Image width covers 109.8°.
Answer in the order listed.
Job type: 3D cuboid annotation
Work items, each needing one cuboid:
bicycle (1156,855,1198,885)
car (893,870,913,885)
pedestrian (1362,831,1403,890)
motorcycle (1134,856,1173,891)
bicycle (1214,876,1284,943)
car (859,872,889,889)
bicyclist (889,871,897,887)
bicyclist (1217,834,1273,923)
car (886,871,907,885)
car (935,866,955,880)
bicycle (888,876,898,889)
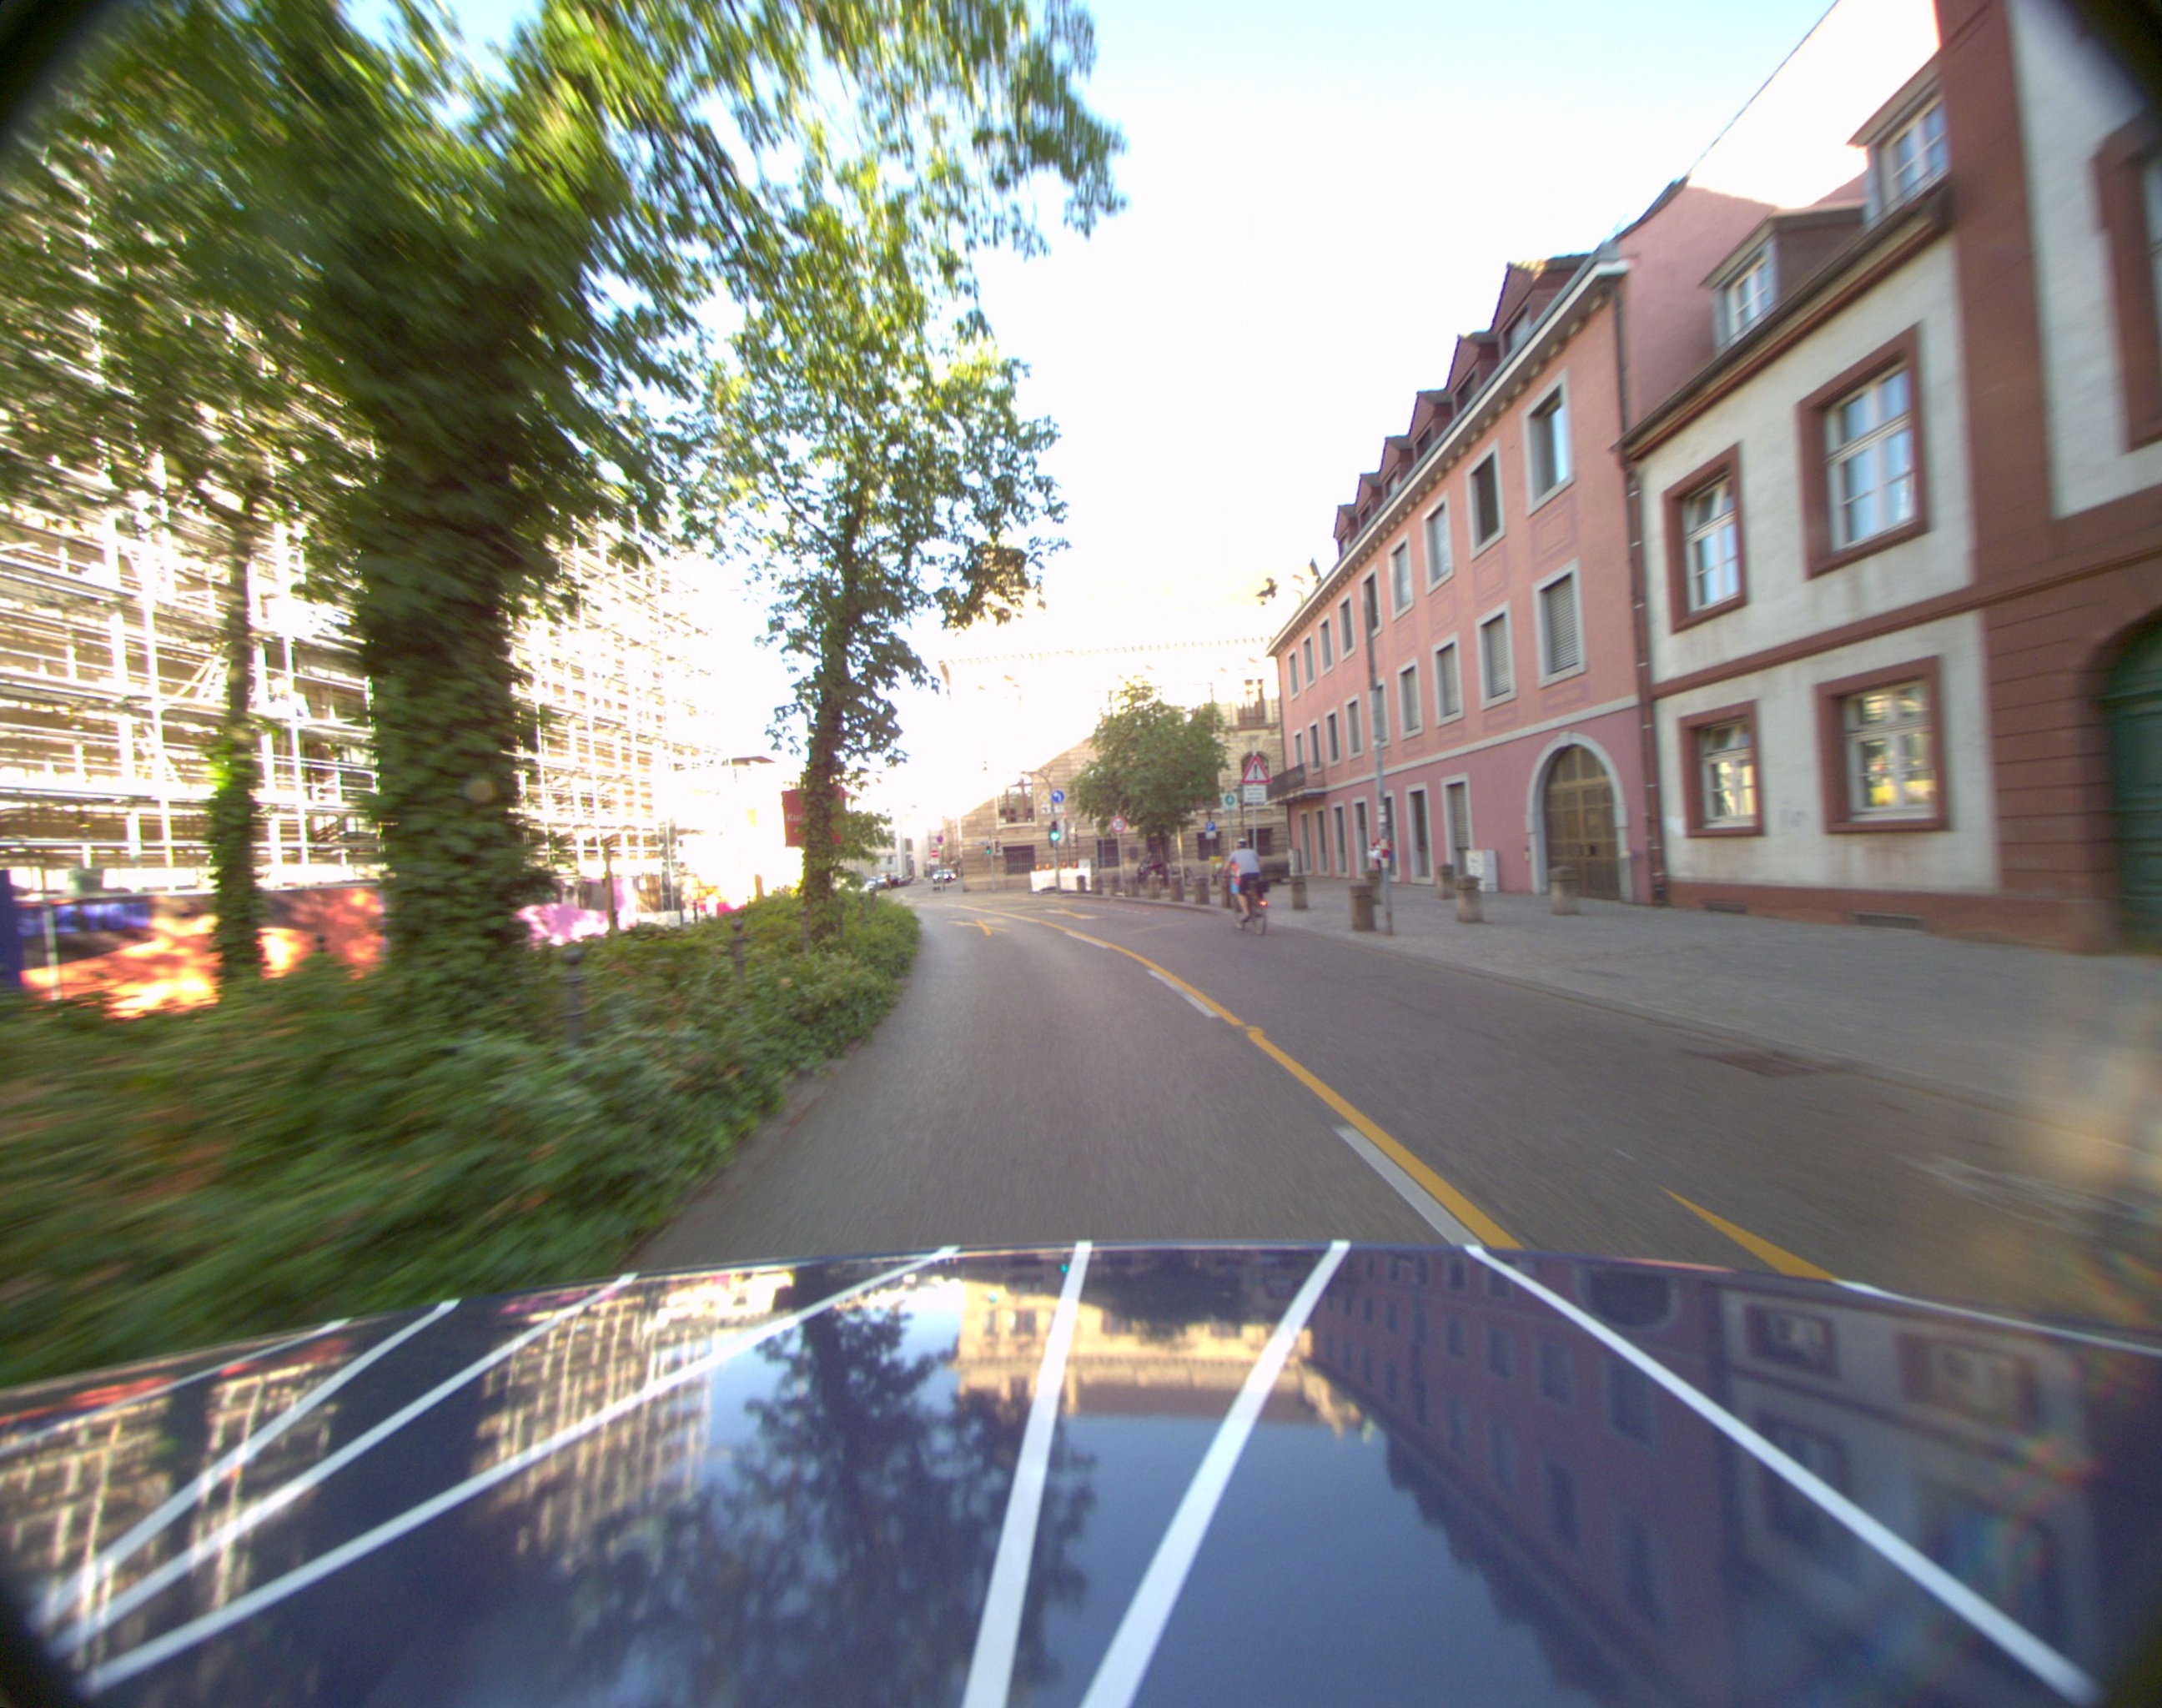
[{"bbox_3d":[4.218,0.676,33.181,0.681,1.199,2.009,-2,1,45],"label":"bicycle"},{"bbox_3d":[-21.270,2.781,90.764,1.698,1.483,4.252,-5,0,-6],"label":"car"},{"bbox_3d":[9.225,0.194,23.274,0.793,1.679,0.869,-5,1,1],"label":"pedestrian"},{"bbox_3d":[2.957,0.791,31.262,0.815,1.309,2.335,-4,0,-12],"label":"motorcycle"},{"bbox_3d":[3.134,1.003,14.392,0.773,1.056,2.078,-4,0,-1],"label":"bicycle"},{"bbox_3d":[-19.987,2.563,73.469,1.701,1.336,4.597,-5,0,-2],"label":"car"},{"bbox_3d":[-15.695,2.063,63.432,0.538,1.281,0.551,-5,1,-7],"label":"bicyclist"},{"bbox_3d":[3.081,0.457,14.324,0.746,1.574,0.795,-5,1,-1],"label":"bicyclist"},{"bbox_3d":[-20.737,2.701,85.425,1.632,1.391,3.884,-5,0,-6],"label":"car"},{"bbox_3d":[-16.440,2.318,92.069,1.855,1.483,4.252,-5,0,-6],"label":"car"},{"bbox_3d":[-15.685,2.378,63.491,0.535,1.060,1.425,-5,0,-7],"label":"bicycle"}]
